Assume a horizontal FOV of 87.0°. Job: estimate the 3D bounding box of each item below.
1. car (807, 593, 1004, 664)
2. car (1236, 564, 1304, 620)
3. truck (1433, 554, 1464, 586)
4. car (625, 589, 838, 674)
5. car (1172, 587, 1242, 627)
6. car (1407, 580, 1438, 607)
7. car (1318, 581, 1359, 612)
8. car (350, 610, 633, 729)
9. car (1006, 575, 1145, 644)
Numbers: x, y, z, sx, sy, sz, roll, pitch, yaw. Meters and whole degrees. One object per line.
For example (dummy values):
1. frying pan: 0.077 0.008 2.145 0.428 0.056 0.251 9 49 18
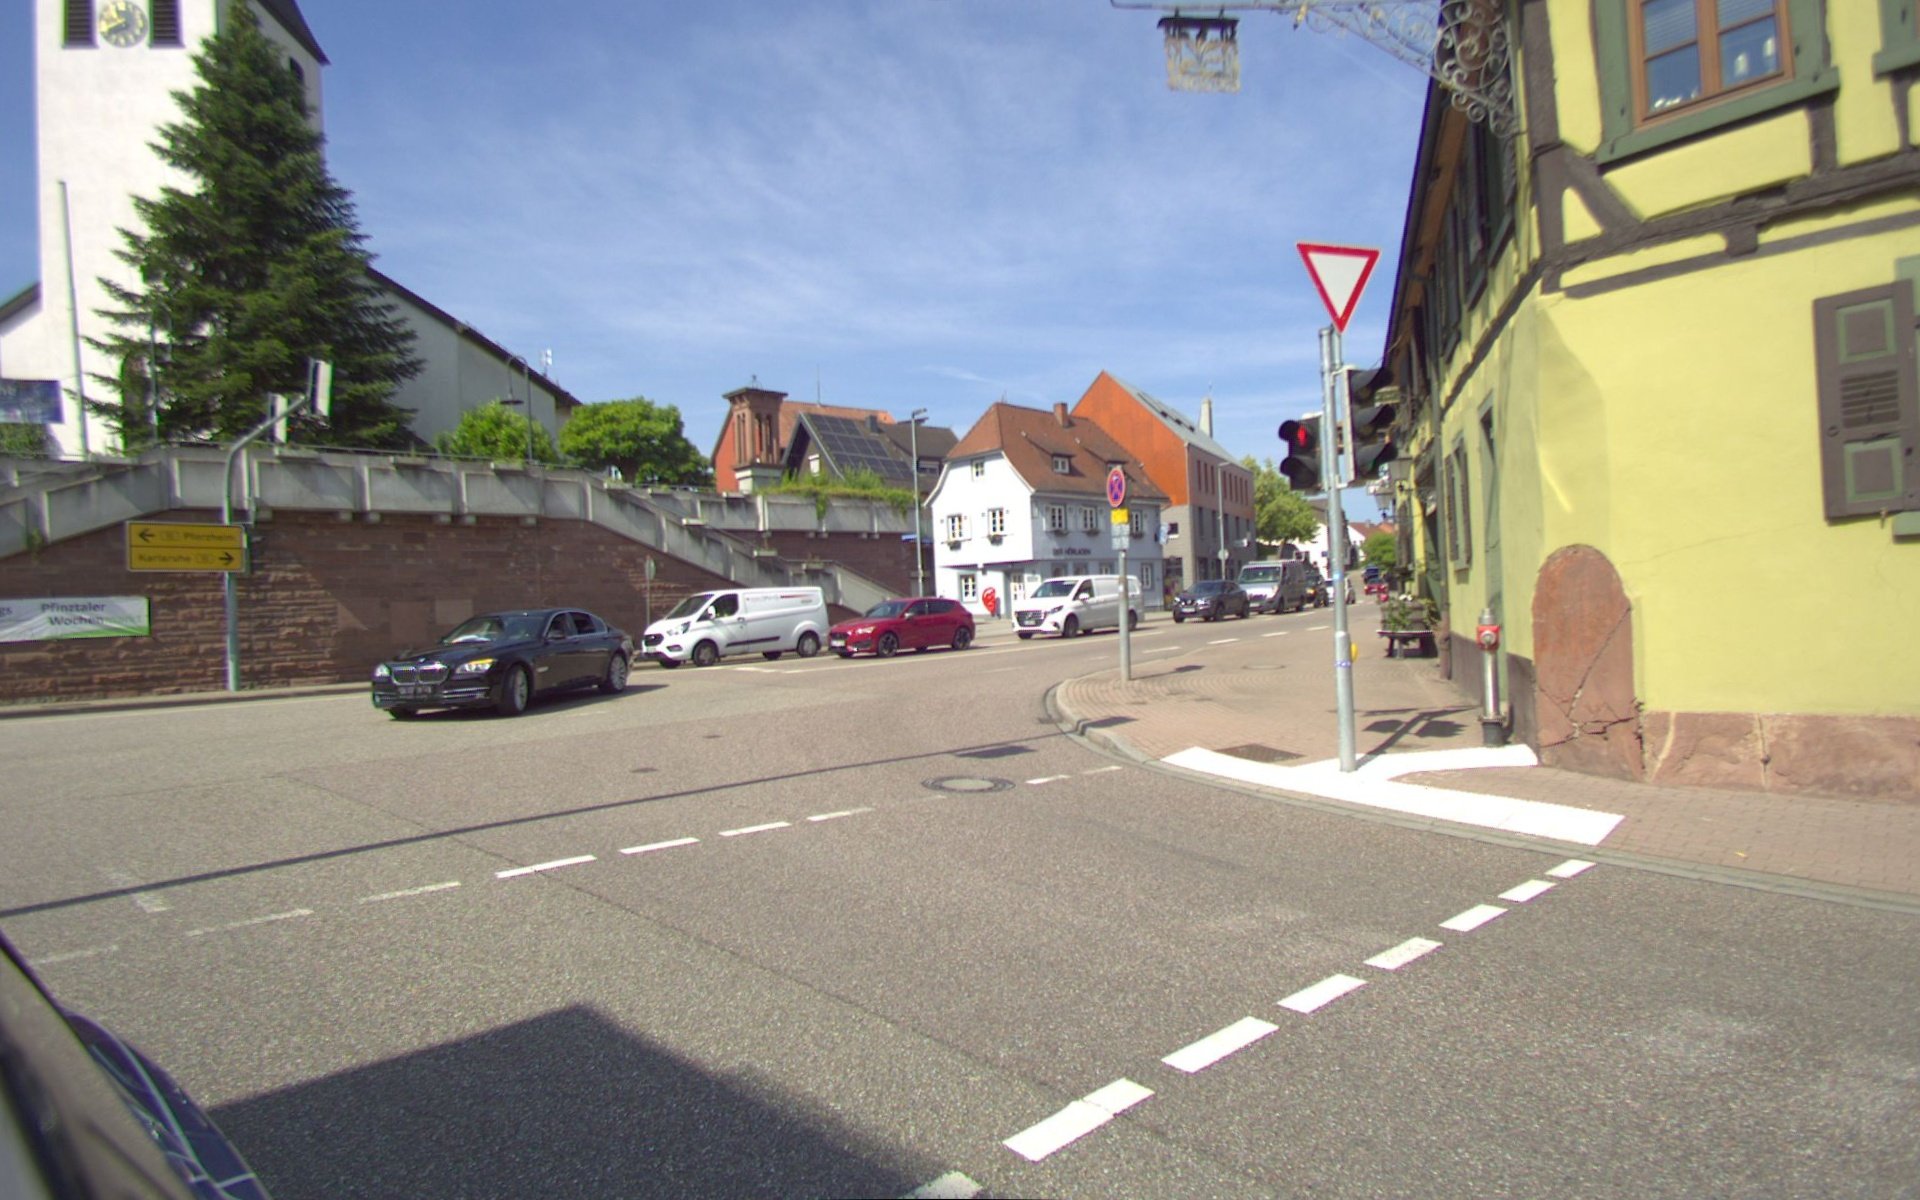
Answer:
1. car: -1.317 0.684 26.094 2.167 1.526 4.876 -2 1 44
2. car: 13.393 -0.365 43.511 1.757 2.263 4.504 0 1 31
3. truck: 57.399 -3.486 119.069 3.216 3.576 9.152 0 1 25
4. car: -6.052 0.798 27.311 2.145 1.981 5.201 -4 -1 45
5. car: 9.310 0.222 37.945 1.574 1.394 3.522 0 1 31
6. car: 32.719 -0.491 71.608 1.816 1.752 3.972 -3 -1 25
7. car: 20.592 -0.207 54.961 1.507 1.638 3.382 0 1 31
8. car: -6.733 0.924 15.130 1.805 1.445 4.238 -2 0 8
9. car: 3.691 0.256 31.676 1.826 1.920 4.896 -3 0 41
